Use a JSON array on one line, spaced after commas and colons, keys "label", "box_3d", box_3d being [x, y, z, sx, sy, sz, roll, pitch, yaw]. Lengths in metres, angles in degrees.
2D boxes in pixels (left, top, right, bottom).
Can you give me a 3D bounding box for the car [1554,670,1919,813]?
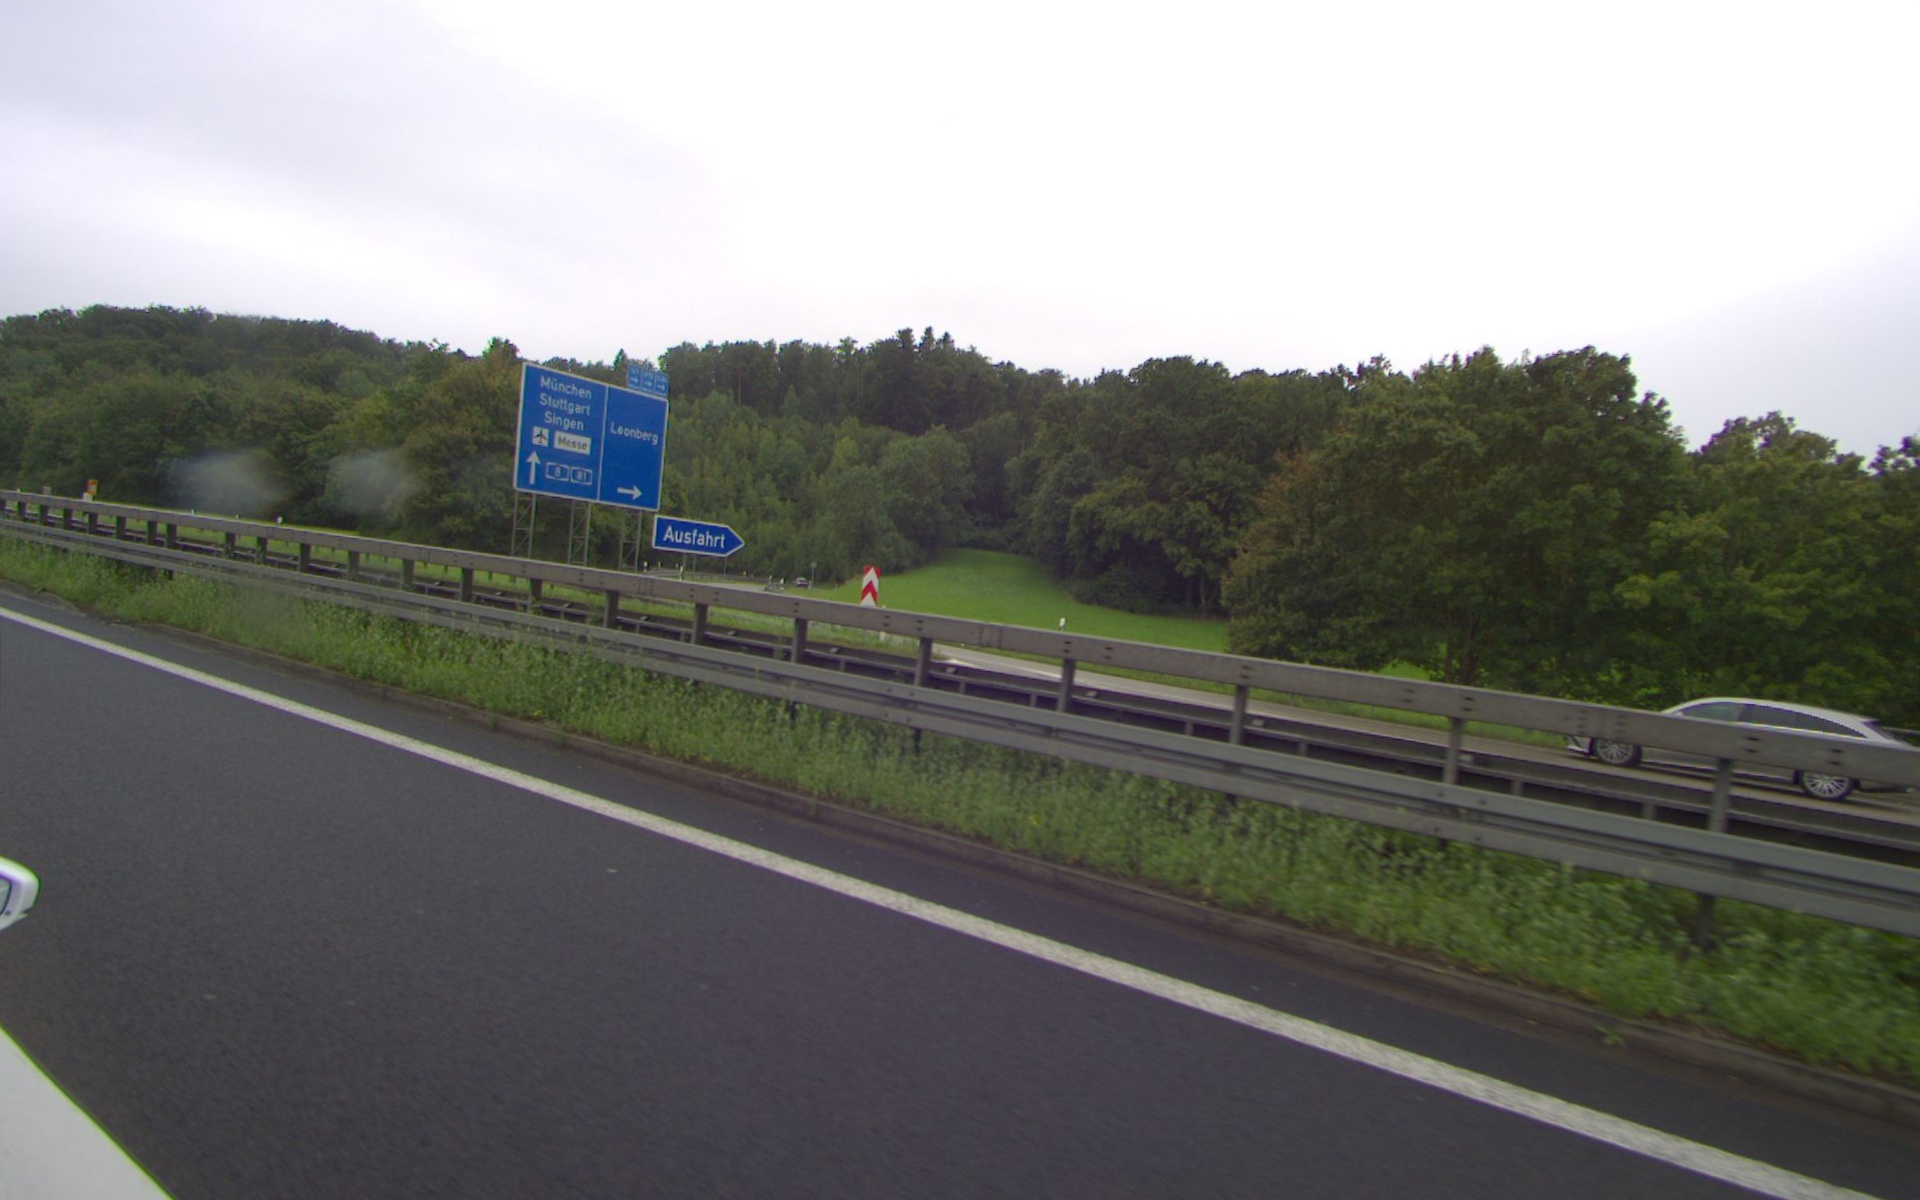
[{"label": "car", "box_3d": [12.684, 2.209, 16.518, 4.648, 1.472, 1.895, 6, -1, 44]}]
